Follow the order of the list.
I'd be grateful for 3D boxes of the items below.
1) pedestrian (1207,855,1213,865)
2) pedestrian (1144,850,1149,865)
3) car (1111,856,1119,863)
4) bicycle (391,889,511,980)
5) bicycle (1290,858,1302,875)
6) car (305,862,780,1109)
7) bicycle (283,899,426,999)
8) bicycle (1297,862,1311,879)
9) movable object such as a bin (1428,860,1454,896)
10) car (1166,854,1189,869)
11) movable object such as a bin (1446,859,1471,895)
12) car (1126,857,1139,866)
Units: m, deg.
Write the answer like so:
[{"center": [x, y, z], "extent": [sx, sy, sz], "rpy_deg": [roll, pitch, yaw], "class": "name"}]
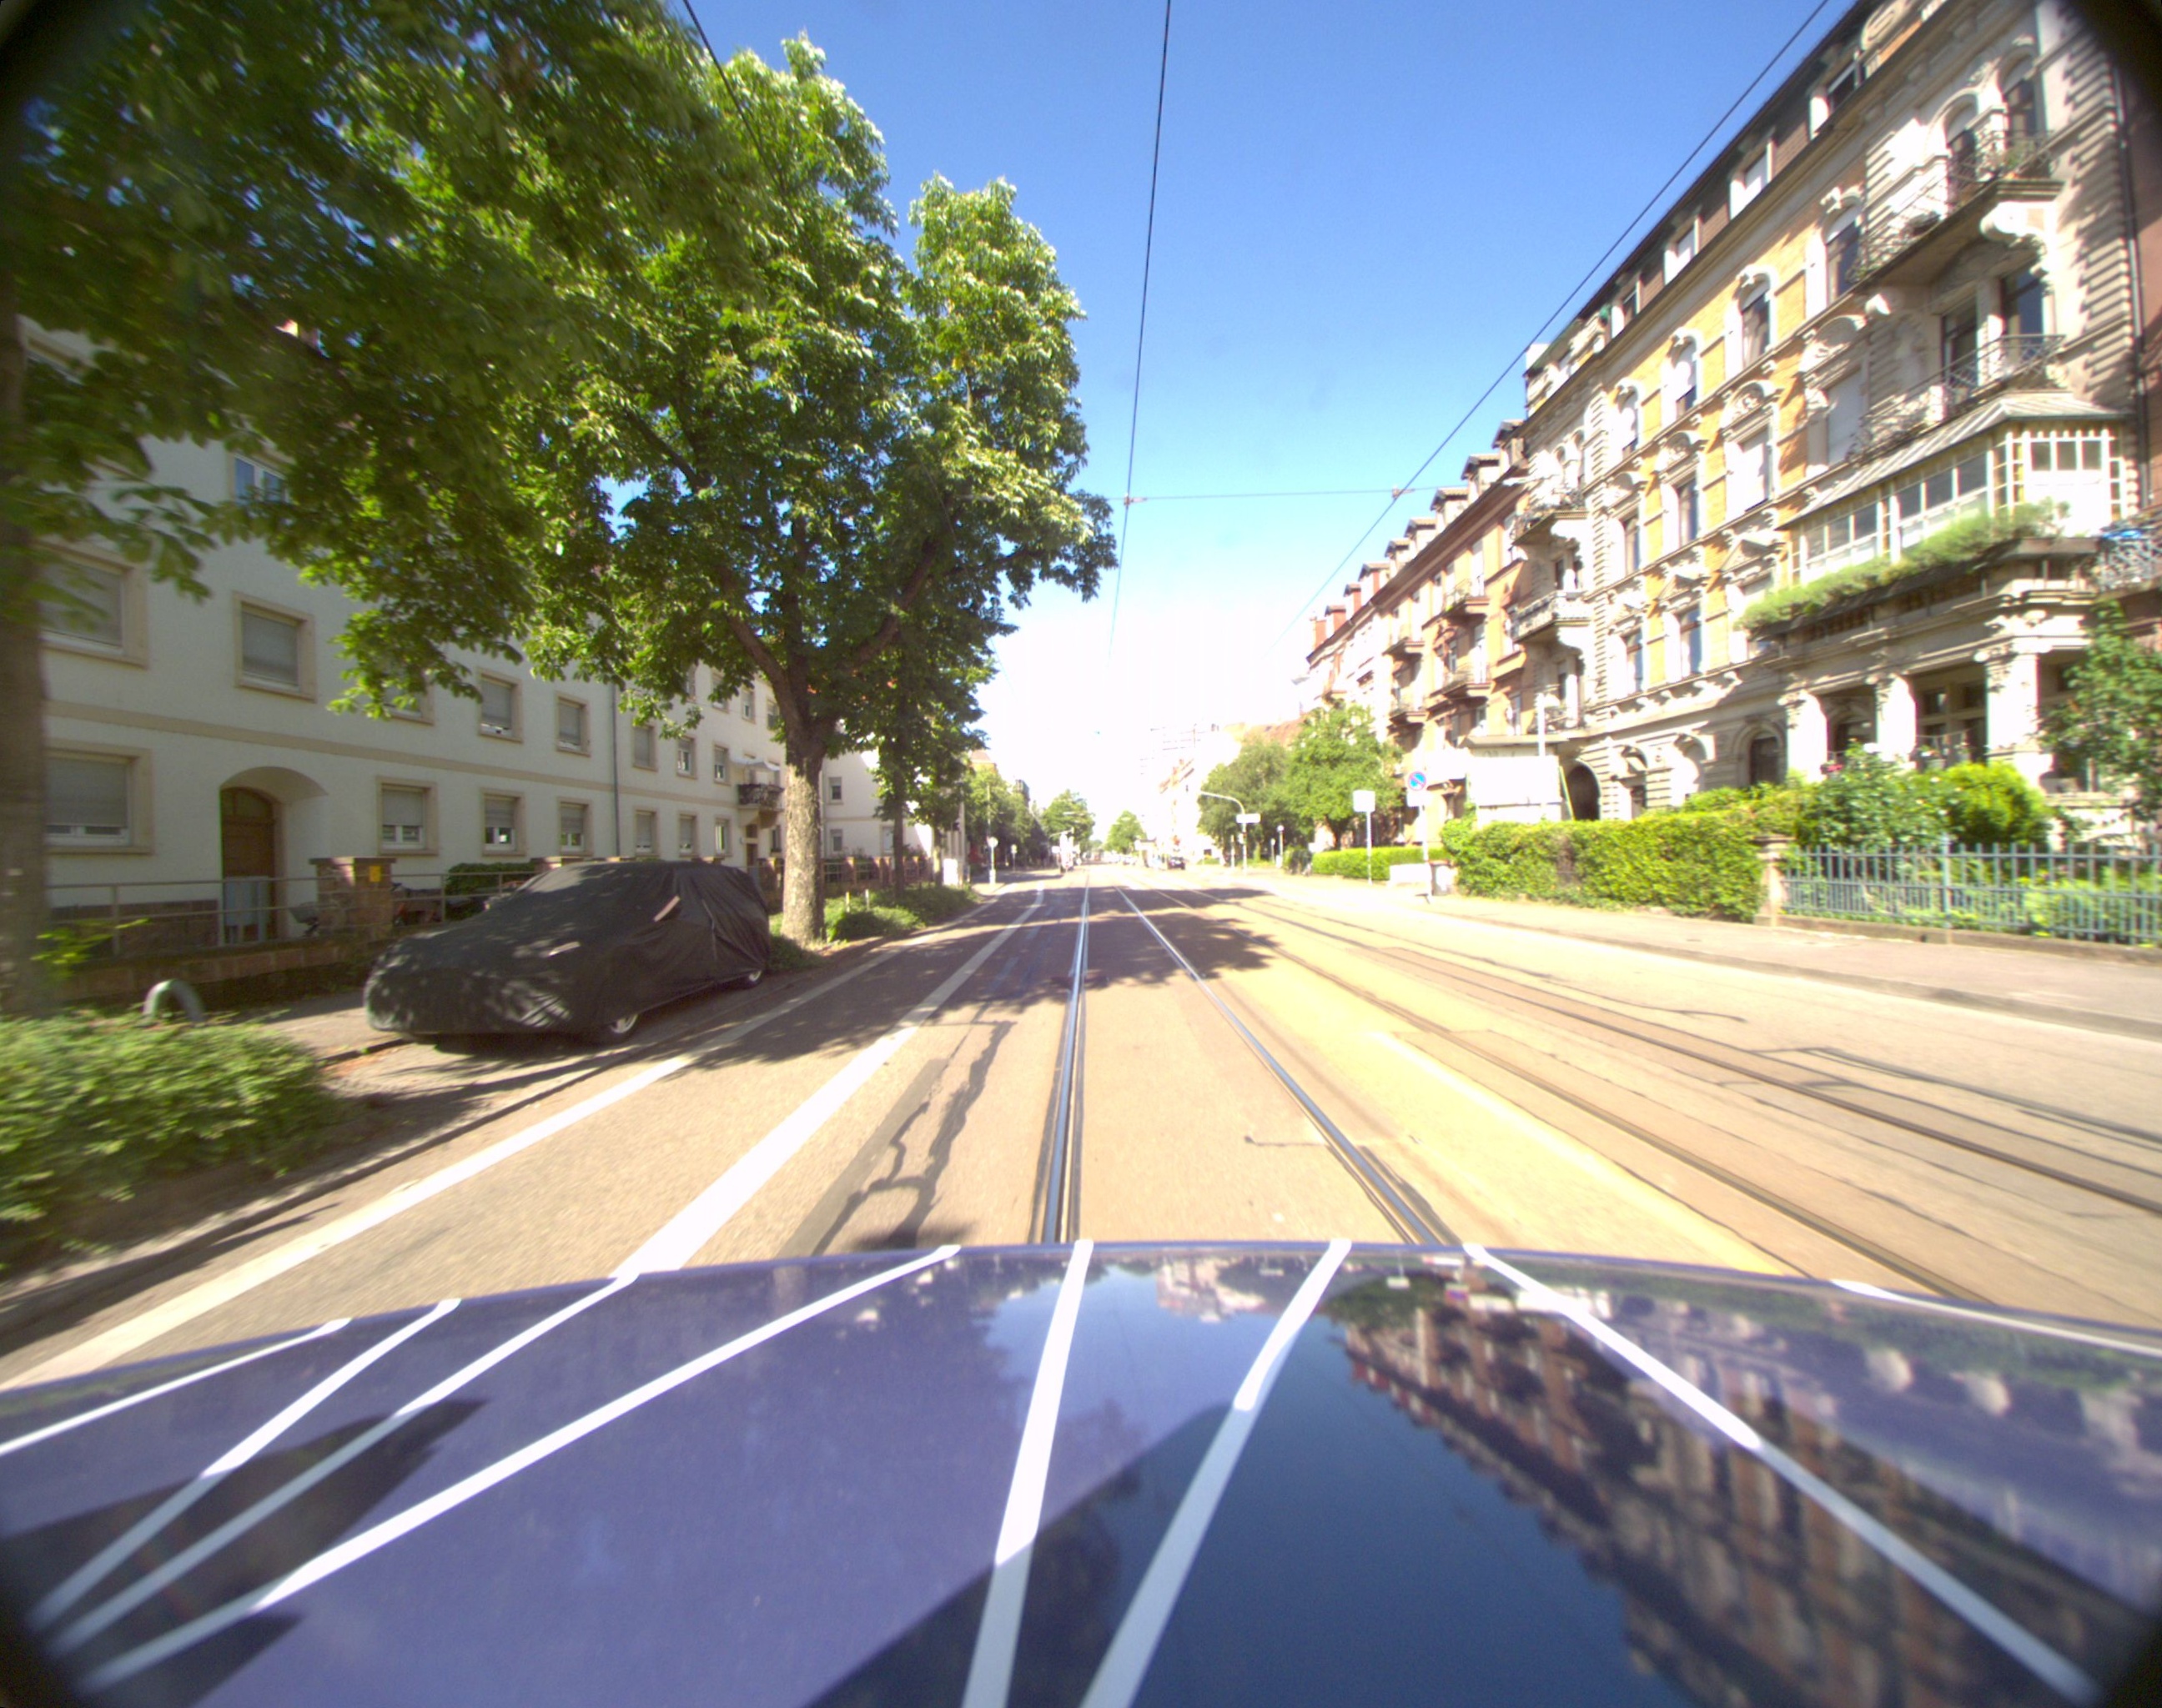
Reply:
[{"center": [16.728, 0.789, 98.742], "extent": [0.659, 1.274, 0.724], "rpy_deg": [-3, 1, 1], "class": "pedestrian"}, {"center": [7.919, 0.438, 92.280], "extent": [0.466, 1.774, 0.673], "rpy_deg": [-2, 1, 0], "class": "pedestrian"}, {"center": [7.744, 1.189, 171.387], "extent": [1.694, 1.531, 3.799], "rpy_deg": [-3, 0, 4], "class": "car"}, {"center": [-9.712, 1.193, 11.787], "extent": [0.448, 1.231, 1.675], "rpy_deg": [-1, 0, -1], "class": "bicycle"}, {"center": [13.062, 0.754, 46.190], "extent": [0.342, 0.920, 1.943], "rpy_deg": [-3, 0, 5], "class": "bicycle"}, {"center": [-5.010, 1.030, 8.059], "extent": [1.748, 1.755, 4.477], "rpy_deg": [-3, 0, 0], "class": "car"}, {"center": [-10.467, 1.328, 11.033], "extent": [0.448, 1.231, 1.675], "rpy_deg": [-1, 0, -1], "class": "bicycle"}, {"center": [12.333, 0.900, 42.045], "extent": [0.342, 0.920, 1.943], "rpy_deg": [-3, 0, 5], "class": "bicycle"}, {"center": [11.084, 0.732, 23.398], "extent": [0.480, 1.079, 0.541], "rpy_deg": [-3, 1, 2], "class": "movable object such as a bin"}, {"center": [10.448, 0.794, 82.316], "extent": [1.836, 1.509, 4.967], "rpy_deg": [-4, 0, 1], "class": "car"}, {"center": [11.674, 0.704, 23.496], "extent": [0.480, 1.079, 0.541], "rpy_deg": [-3, 1, 2], "class": "movable object such as a bin"}, {"center": [9.132, 1.297, 135.455], "extent": [1.902, 1.608, 4.264], "rpy_deg": [0, 0, -1], "class": "car"}]
